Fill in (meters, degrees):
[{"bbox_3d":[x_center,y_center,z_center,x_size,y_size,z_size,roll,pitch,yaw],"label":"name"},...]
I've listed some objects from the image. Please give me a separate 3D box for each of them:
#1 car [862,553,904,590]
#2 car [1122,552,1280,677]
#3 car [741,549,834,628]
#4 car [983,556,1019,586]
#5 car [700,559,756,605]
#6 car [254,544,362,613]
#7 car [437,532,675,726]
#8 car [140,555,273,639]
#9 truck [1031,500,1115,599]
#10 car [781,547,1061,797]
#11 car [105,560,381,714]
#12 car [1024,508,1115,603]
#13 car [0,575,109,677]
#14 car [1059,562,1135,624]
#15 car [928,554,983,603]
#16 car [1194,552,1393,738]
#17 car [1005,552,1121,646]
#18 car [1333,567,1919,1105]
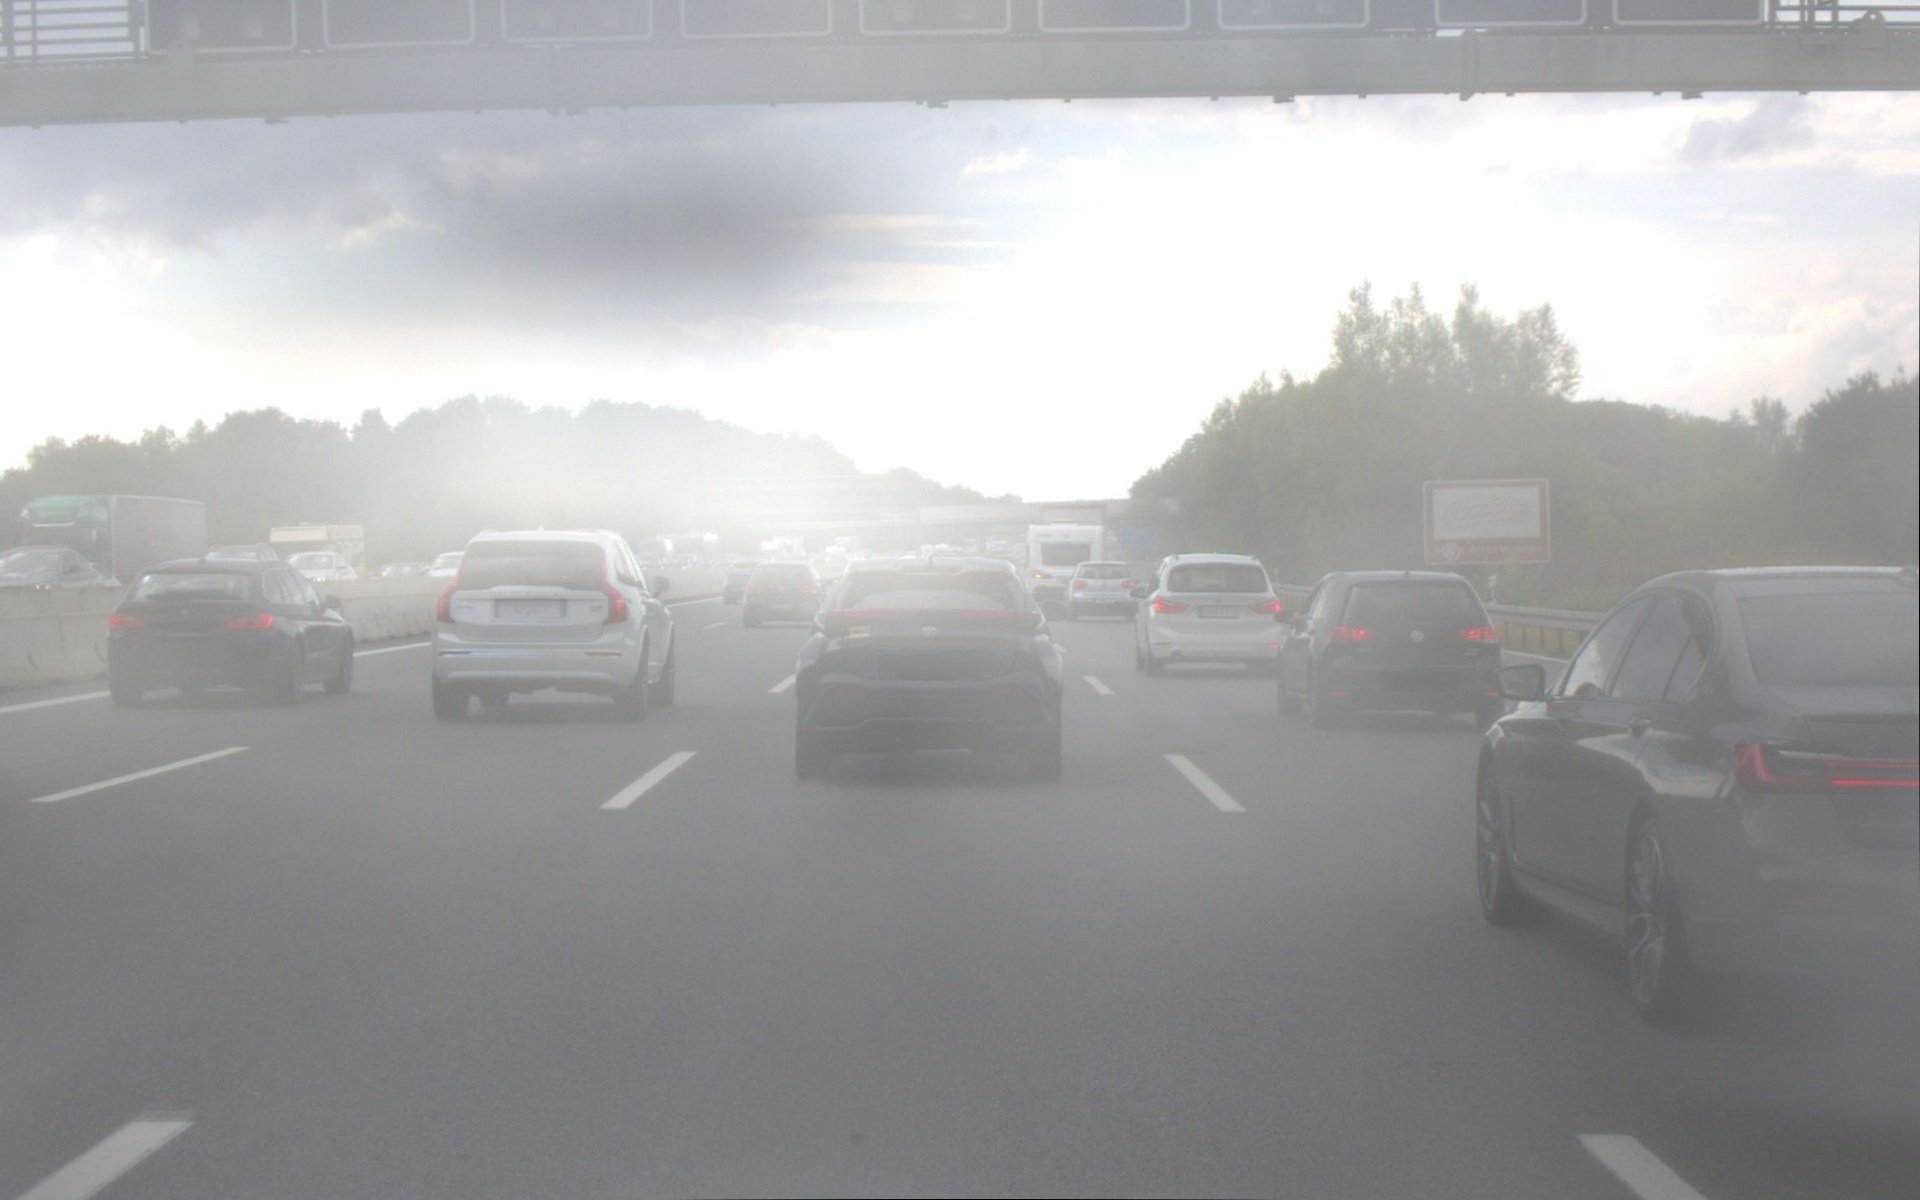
[{"bbox_3d":[-3.588,-1.336,160.823,1.881,1.680,4.000,0,1,-1],"label":"car"},{"bbox_3d":[3.197,0.158,46.321,1.810,1.593,4.696,0,1,0],"label":"car"},{"bbox_3d":[-3.795,-0.271,76.008,1.881,1.680,4.000,0,1,-1],"label":"car"},{"bbox_3d":[2.321,-1.659,195.127,1.881,1.680,4.000,0,1,-2],"label":"car"},{"bbox_3d":[-7.475,-0.595,111.070,1.563,1.472,3.920,0,1,0],"label":"car"},{"bbox_3d":[-17.932,-0.627,94.744,1.993,1.846,5.078,0,1,0],"label":"car"},{"bbox_3d":[-3.773,0.233,32.771,1.781,1.710,4.353,0,1,0],"label":"car"},{"bbox_3d":[-17.735,-0.098,81.146,1.993,1.891,5.187,0,1,0],"label":"car"},{"bbox_3d":[4.339,-1.935,133.969,3.133,3.697,9.847,0,1,1],"label":"truck"},{"bbox_3d":[-0.368,0.441,24.570,1.780,1.607,4.598,0,1,-3],"label":"car"},{"bbox_3d":[-7.341,0.334,35.590,1.781,1.476,4.352,0,1,2],"label":"car"},{"bbox_3d":[3.404,-1.411,108.528,2.567,2.885,7.534,0,1,0],"label":"car"},{"bbox_3d":[-18.057,0.464,66.501,1.993,1.879,5.187,0,1,-1],"label":"car"},{"bbox_3d":[3.342,-0.198,84.567,1.795,1.472,4.037,0,1,1],"label":"car"},{"bbox_3d":[-0.181,-0.758,119.757,1.881,1.680,4.000,0,1,-1],"label":"car"},{"bbox_3d":[3.095,0.370,32.587,1.707,1.625,4.456,0,1,4],"label":"car"},{"bbox_3d":[1.874,-0.042,63.840,1.881,1.680,4.000,0,1,-2],"label":"car"},{"bbox_3d":[2.561,0.638,11.980,1.939,1.486,4.776,0,1,-1],"label":"car"}]
